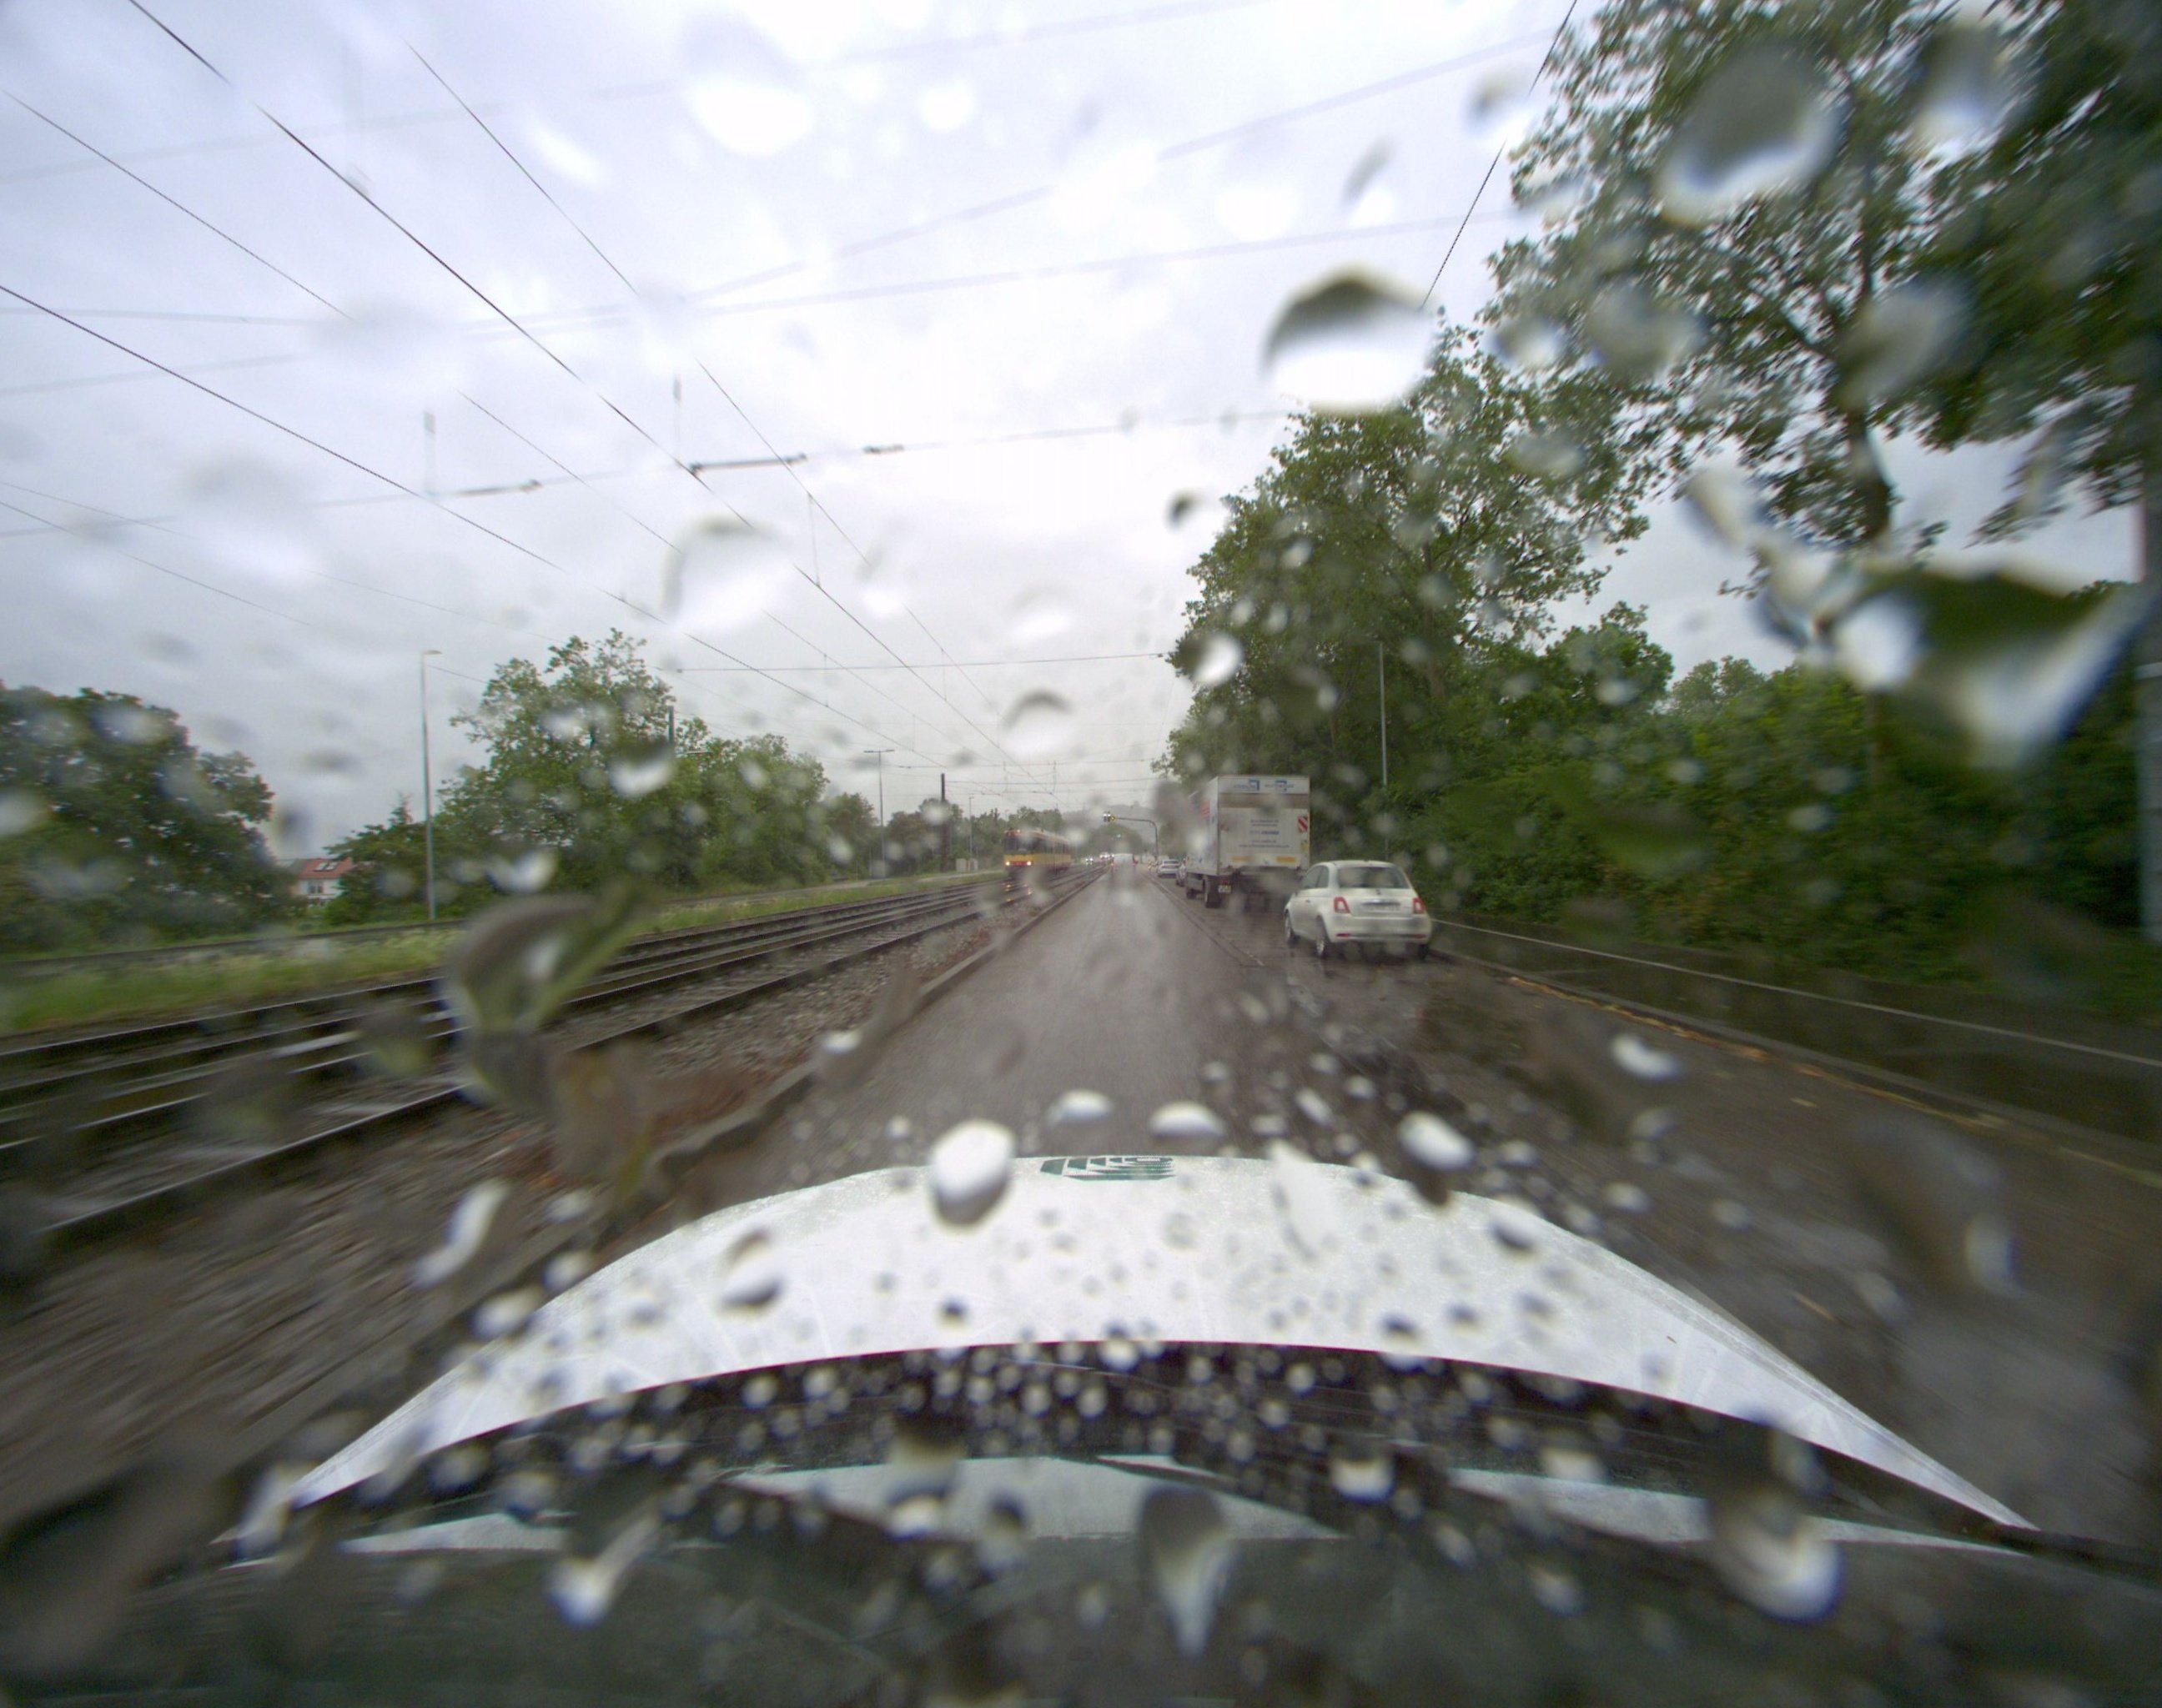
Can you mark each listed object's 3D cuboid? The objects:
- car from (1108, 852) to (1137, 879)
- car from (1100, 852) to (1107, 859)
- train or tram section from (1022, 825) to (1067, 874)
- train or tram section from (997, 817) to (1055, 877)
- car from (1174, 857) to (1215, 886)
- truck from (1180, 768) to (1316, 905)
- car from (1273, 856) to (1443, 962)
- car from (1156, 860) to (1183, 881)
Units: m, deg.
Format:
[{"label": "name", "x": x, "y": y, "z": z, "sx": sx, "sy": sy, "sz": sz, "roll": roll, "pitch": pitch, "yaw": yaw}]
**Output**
[{"label": "car", "x": 2.947, "y": 0.801, "z": 57.502, "sx": 1.985, "sy": 1.849, "sz": 4.003, "roll": -1, "pitch": -1, "yaw": 3}, {"label": "car", "x": 6.698, "y": 0.494, "z": 243.001, "sx": 1.985, "sy": 2.014, "sz": 4.004, "roll": 0, "pitch": -1, "yaw": 4}, {"label": "train or tram section", "x": -3.226, "y": -0.346, "z": 75.922, "sx": 2.794, "sy": 4.150, "sz": 13.029, "roll": 0, "pitch": -1, "yaw": 3}, {"label": "train or tram section", "x": -4.036, "y": -0.457, "z": 62.910, "sx": 2.794, "sy": 4.150, "sz": 13.031, "roll": 0, "pitch": 0, "yaw": 3}, {"label": "car", "x": 6.112, "y": 0.921, "z": 44.307, "sx": 1.805, "sy": 1.459, "sz": 4.349, "roll": 1, "pitch": -1, "yaw": 3}, {"label": "truck", "x": 5.100, "y": -0.388, "z": 26.906, "sx": 2.765, "sy": 3.704, "sz": 9.855, "roll": 0, "pitch": -1, "yaw": 2}, {"label": "car", "x": 4.470, "y": 0.810, "z": 13.786, "sx": 1.706, "sy": 1.529, "sz": 4.003, "roll": -1, "pitch": 0, "yaw": 3}, {"label": "car", "x": 6.855, "y": 1.242, "z": 63.349, "sx": 1.812, "sy": 1.486, "sz": 4.484, "roll": 1, "pitch": 0, "yaw": 3}]
